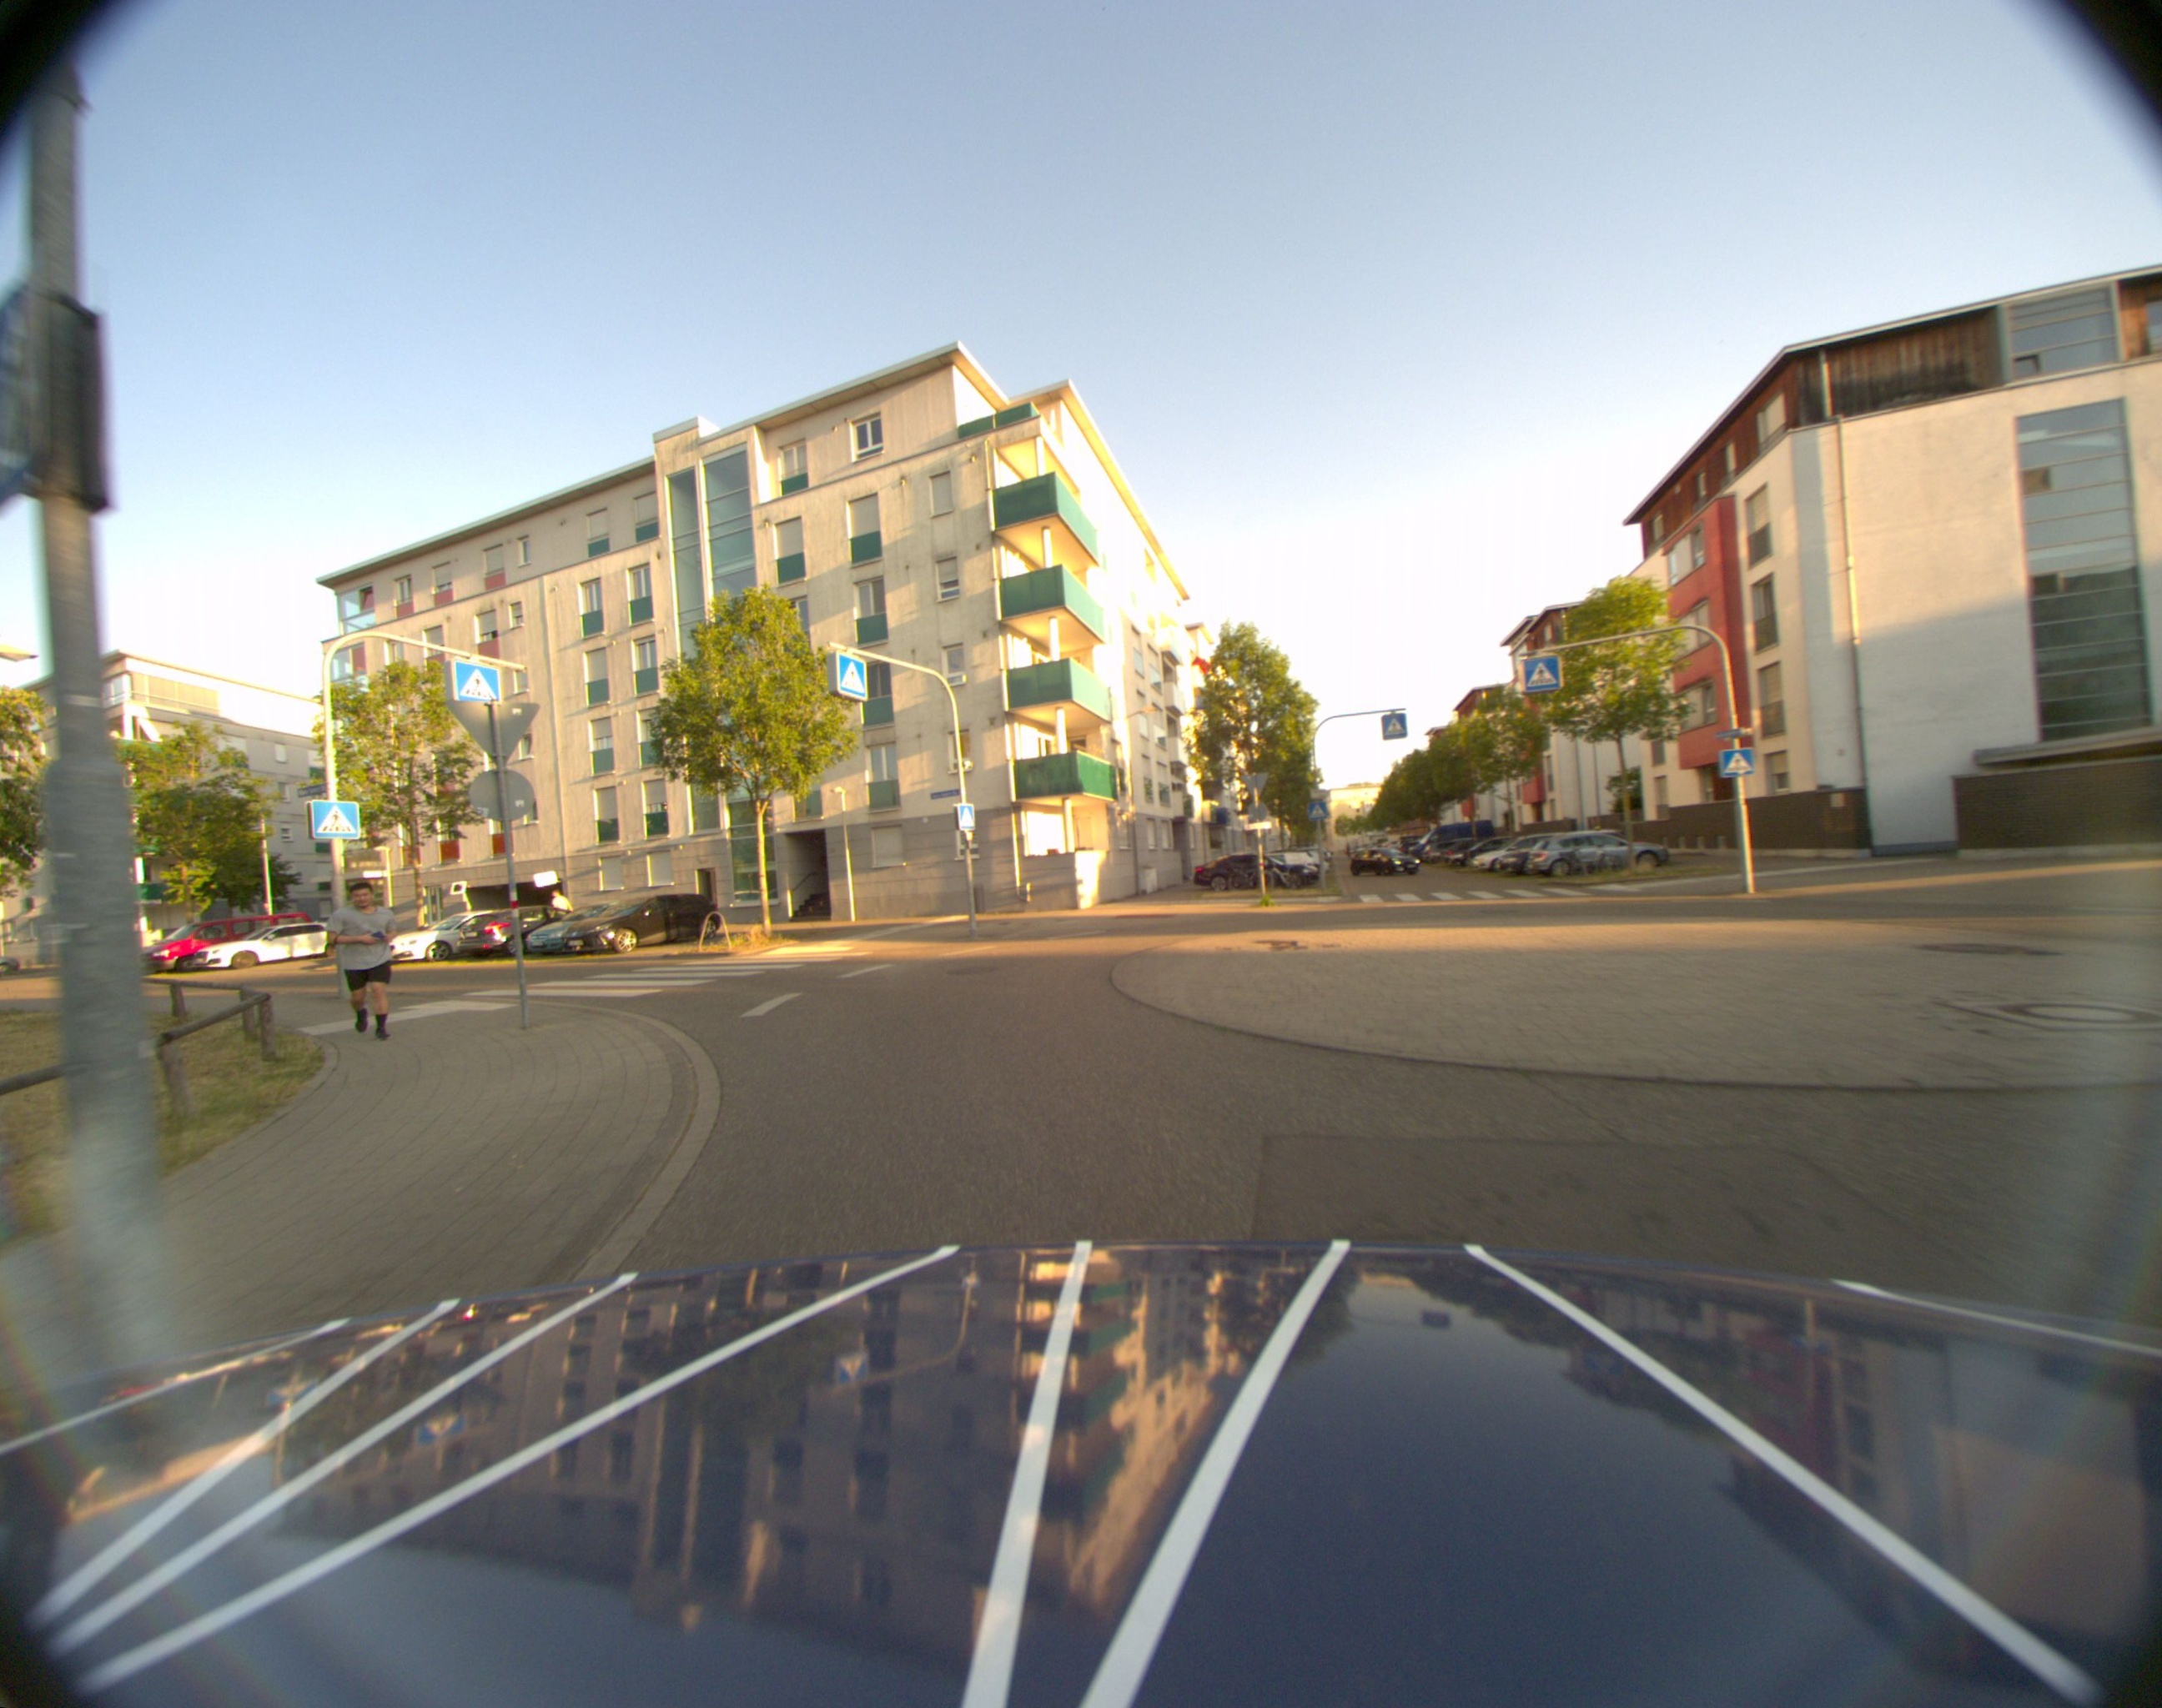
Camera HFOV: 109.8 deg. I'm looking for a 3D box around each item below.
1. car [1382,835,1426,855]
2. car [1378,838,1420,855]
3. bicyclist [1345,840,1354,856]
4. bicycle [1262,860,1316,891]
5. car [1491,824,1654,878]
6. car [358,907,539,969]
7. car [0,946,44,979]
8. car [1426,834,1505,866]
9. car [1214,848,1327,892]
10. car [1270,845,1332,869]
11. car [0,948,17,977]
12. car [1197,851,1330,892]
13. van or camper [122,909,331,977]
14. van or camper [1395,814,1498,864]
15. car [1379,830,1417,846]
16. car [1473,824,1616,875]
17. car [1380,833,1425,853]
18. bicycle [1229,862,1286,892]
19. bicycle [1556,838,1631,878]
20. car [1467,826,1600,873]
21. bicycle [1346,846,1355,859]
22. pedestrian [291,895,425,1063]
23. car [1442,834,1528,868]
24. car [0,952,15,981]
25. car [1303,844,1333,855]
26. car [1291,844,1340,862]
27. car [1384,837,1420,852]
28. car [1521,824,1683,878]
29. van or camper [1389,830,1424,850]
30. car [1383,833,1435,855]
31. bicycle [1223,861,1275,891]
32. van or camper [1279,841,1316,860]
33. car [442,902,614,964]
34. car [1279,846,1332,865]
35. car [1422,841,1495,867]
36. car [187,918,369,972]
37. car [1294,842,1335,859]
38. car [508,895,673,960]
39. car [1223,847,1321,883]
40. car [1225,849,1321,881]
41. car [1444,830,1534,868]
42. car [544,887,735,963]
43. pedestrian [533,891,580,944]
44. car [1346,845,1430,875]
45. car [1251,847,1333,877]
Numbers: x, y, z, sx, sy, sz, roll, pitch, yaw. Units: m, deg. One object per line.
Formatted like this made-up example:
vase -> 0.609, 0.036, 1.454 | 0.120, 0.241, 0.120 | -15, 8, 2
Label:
car -> 34.920, -0.969, 82.270 | 4.246, 1.991, 1.695 | -2, 0, 17
car -> 35.676, -0.866, 85.322 | 4.246, 1.776, 1.695 | -2, 0, 17
bicyclist -> 28.782, -0.650, 81.363 | 0.766, 1.617, 0.664 | -5, -1, 17
bicycle -> 7.554, 0.792, 27.625 | 1.837, 1.065, 0.474 | -2, 0, 14
car -> 18.790, -0.101, 29.304 | 4.910, 1.469, 1.713 | -7, -1, 16
car -> -20.109, 2.630, 24.385 | 1.698, 1.470, 4.062 | -5, -1, 20
car -> -59.497, 6.017, 40.860 | 1.775, 1.583, 3.961 | -5, -1, 18
car -> 24.342, -0.233, 48.202 | 4.097, 1.615, 1.726 | -5, -1, 14
car -> 8.155, 0.697, 32.708 | 4.407, 1.499, 1.745 | -5, -1, 22
car -> 15.479, 0.223, 53.581 | 4.097, 1.500, 1.668 | -2, 0, 14
car -> -64.170, 6.415, 42.828 | 1.948, 1.583, 4.419 | -5, -1, 18
car -> 7.260, 0.678, 30.181 | 4.880, 1.449, 1.940 | -2, 0, 20
van or camper -> -33.844, 3.478, 30.341 | 1.874, 2.047, 5.139 | -5, -1, 19
van or camper -> 26.897, -1.068, 56.160 | 6.307, 3.068, 2.445 | -5, -1, 14
car -> 39.959, -1.996, 95.809 | 4.245, 1.776, 1.695 | -2, 0, 20
car -> 19.331, -0.161, 31.960 | 4.779, 1.545, 1.713 | -7, -1, 22
car -> 33.993, -1.127, 80.382 | 4.246, 1.919, 1.695 | -2, 0, 17
bicycle -> 6.585, 0.864, 28.397 | 2.032, 1.040, 0.474 | -2, 0, 14
bicycle -> 16.495, 0.126, 24.491 | 1.819, 1.060, 0.568 | -8, -2, 16
car -> 20.368, -0.172, 34.422 | 4.754, 1.575, 1.760 | -7, -1, 15
bicycle -> 28.807, -0.177, 81.327 | 0.770, 1.259, 1.784 | -5, -1, 17
pedestrian -> -8.051, 1.359, 8.478 | 0.800, 1.719, 0.768 | -5, -1, 26
car -> 23.114, -0.162, 43.603 | 3.914, 1.506, 1.726 | -5, -1, 14
car -> -61.849, 6.405, 41.386 | 1.775, 1.583, 3.961 | -5, -1, 18
car -> 36.440, -0.675, 116.827 | 4.245, 1.629, 1.695 | -2, 0, 20
car -> 21.812, -0.127, 70.567 | 4.245, 1.527, 1.695 | -2, 0, 20
car -> 42.475, -1.222, 100.618 | 4.245, 1.776, 1.695 | -2, 0, 20
car -> 18.216, -0.095, 26.777 | 4.286, 1.449, 1.682 | -6, -1, 16
van or camper -> 44.990, -1.918, 105.041 | 4.245, 2.520, 1.763 | -2, 0, 19
car -> 30.563, -0.919, 70.990 | 4.246, 1.919, 1.695 | -2, 0, 17
bicycle -> 6.062, 0.797, 27.434 | 1.790, 1.036, 0.568 | -2, 0, 14
van or camper -> 26.536, -0.462, 92.999 | 4.245, 2.198, 1.695 | -2, 0, 18
car -> -17.332, 2.427, 24.075 | 1.698, 1.470, 4.062 | -5, -1, 20
car -> 19.449, 0.125, 65.869 | 4.245, 1.527, 1.695 | -2, 0, 20
car -> 25.343, 0.020, 51.178 | 4.097, 1.616, 1.726 | -2, 0, 14
car -> -30.942, 3.463, 29.476 | 1.698, 1.511, 4.473 | -5, -1, 20
car -> 25.703, -0.382, 83.665 | 4.245, 1.768, 1.695 | -2, 0, 20
car -> -14.949, 2.198, 23.434 | 1.556, 1.366, 4.010 | -5, 1, 20
car -> 8.898, 0.505, 35.303 | 4.288, 1.485, 1.745 | -2, 0, 18
car -> 9.524, 0.556, 37.722 | 4.286, 1.449, 1.746 | -2, 0, 27
car -> 22.201, -0.263, 41.494 | 3.914, 1.700, 1.726 | -5, -1, 14
car -> -12.466, 1.957, 21.852 | 1.829, 1.479, 4.485 | -5, 1, 20
pedestrian -> -20.132, 2.435, 29.181 | 1.048, 1.882, 0.981 | -5, -1, 21
car -> 15.930, 0.317, 39.665 | 1.779, 1.454, 4.172 | -2, 0, -18
car -> 11.680, 0.457, 42.205 | 4.288, 1.499, 1.687 | -2, 0, 15
